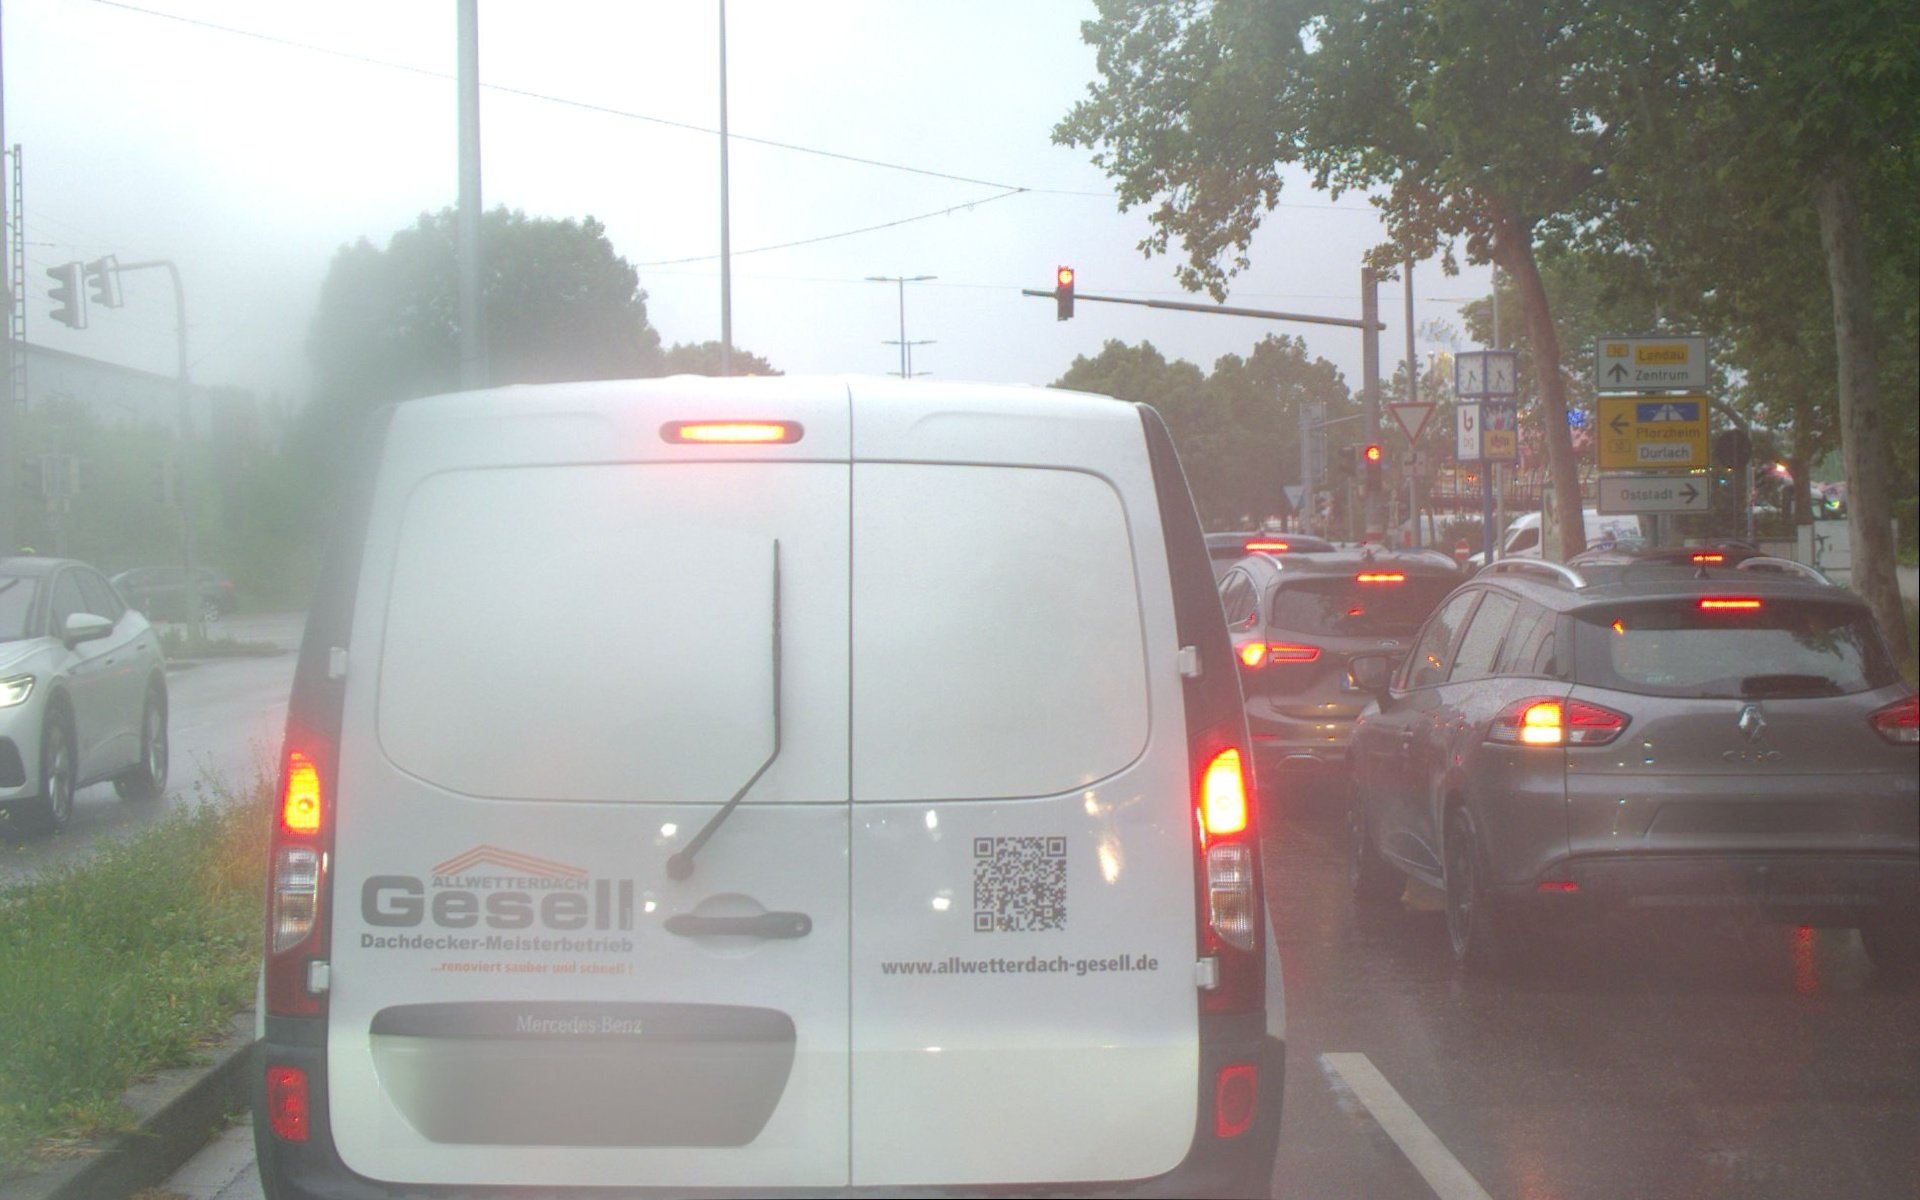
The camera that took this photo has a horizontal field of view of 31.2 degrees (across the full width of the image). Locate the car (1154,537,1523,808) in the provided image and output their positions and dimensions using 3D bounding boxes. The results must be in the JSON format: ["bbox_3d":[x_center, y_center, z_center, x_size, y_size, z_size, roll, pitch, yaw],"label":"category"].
[{"bbox_3d":[2.162,0.356,20.606,1.711,1.440,4.000,0,1,-1],"label":"car"}]

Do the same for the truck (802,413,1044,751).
[{"bbox_3d":[-0.349,-0.154,27.050,1.756,2.458,4.000,0,1,-2],"label":"truck"}]

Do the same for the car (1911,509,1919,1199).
[{"bbox_3d":[2.971,0.637,5.377,1.708,1.544,4.001,0,2,-2],"label":"car"}]

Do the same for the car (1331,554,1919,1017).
[{"bbox_3d":[2.508,0.568,13.041,1.711,1.440,4.000,0,1,-1],"label":"car"}]

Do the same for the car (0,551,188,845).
[{"bbox_3d":[-6.096,0.534,20.840,1.962,1.520,4.335,-2,2,-2],"label":"car"}]

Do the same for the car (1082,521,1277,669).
[{"bbox_3d":[2.230,-0.095,35.770,1.711,1.440,4.000,0,1,-1],"label":"car"}]

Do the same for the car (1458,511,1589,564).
[{"bbox_3d":[18.940,-2.098,115.675,3.986,1.707,1.774,0,-1,-12],"label":"car"}]

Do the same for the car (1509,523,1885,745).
[{"bbox_3d":[5.481,0.218,26.077,1.839,1.531,4.112,0,1,-2],"label":"car"}]

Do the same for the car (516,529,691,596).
[{"bbox_3d":[-8.895,-0.953,85.870,3.987,1.579,1.717,-2,1,-34],"label":"car"}]

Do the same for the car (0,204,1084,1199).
[{"bbox_3d":[-0.888,0.380,7.271,1.993,2.007,4.000,0,1,-2],"label":"car"}]
